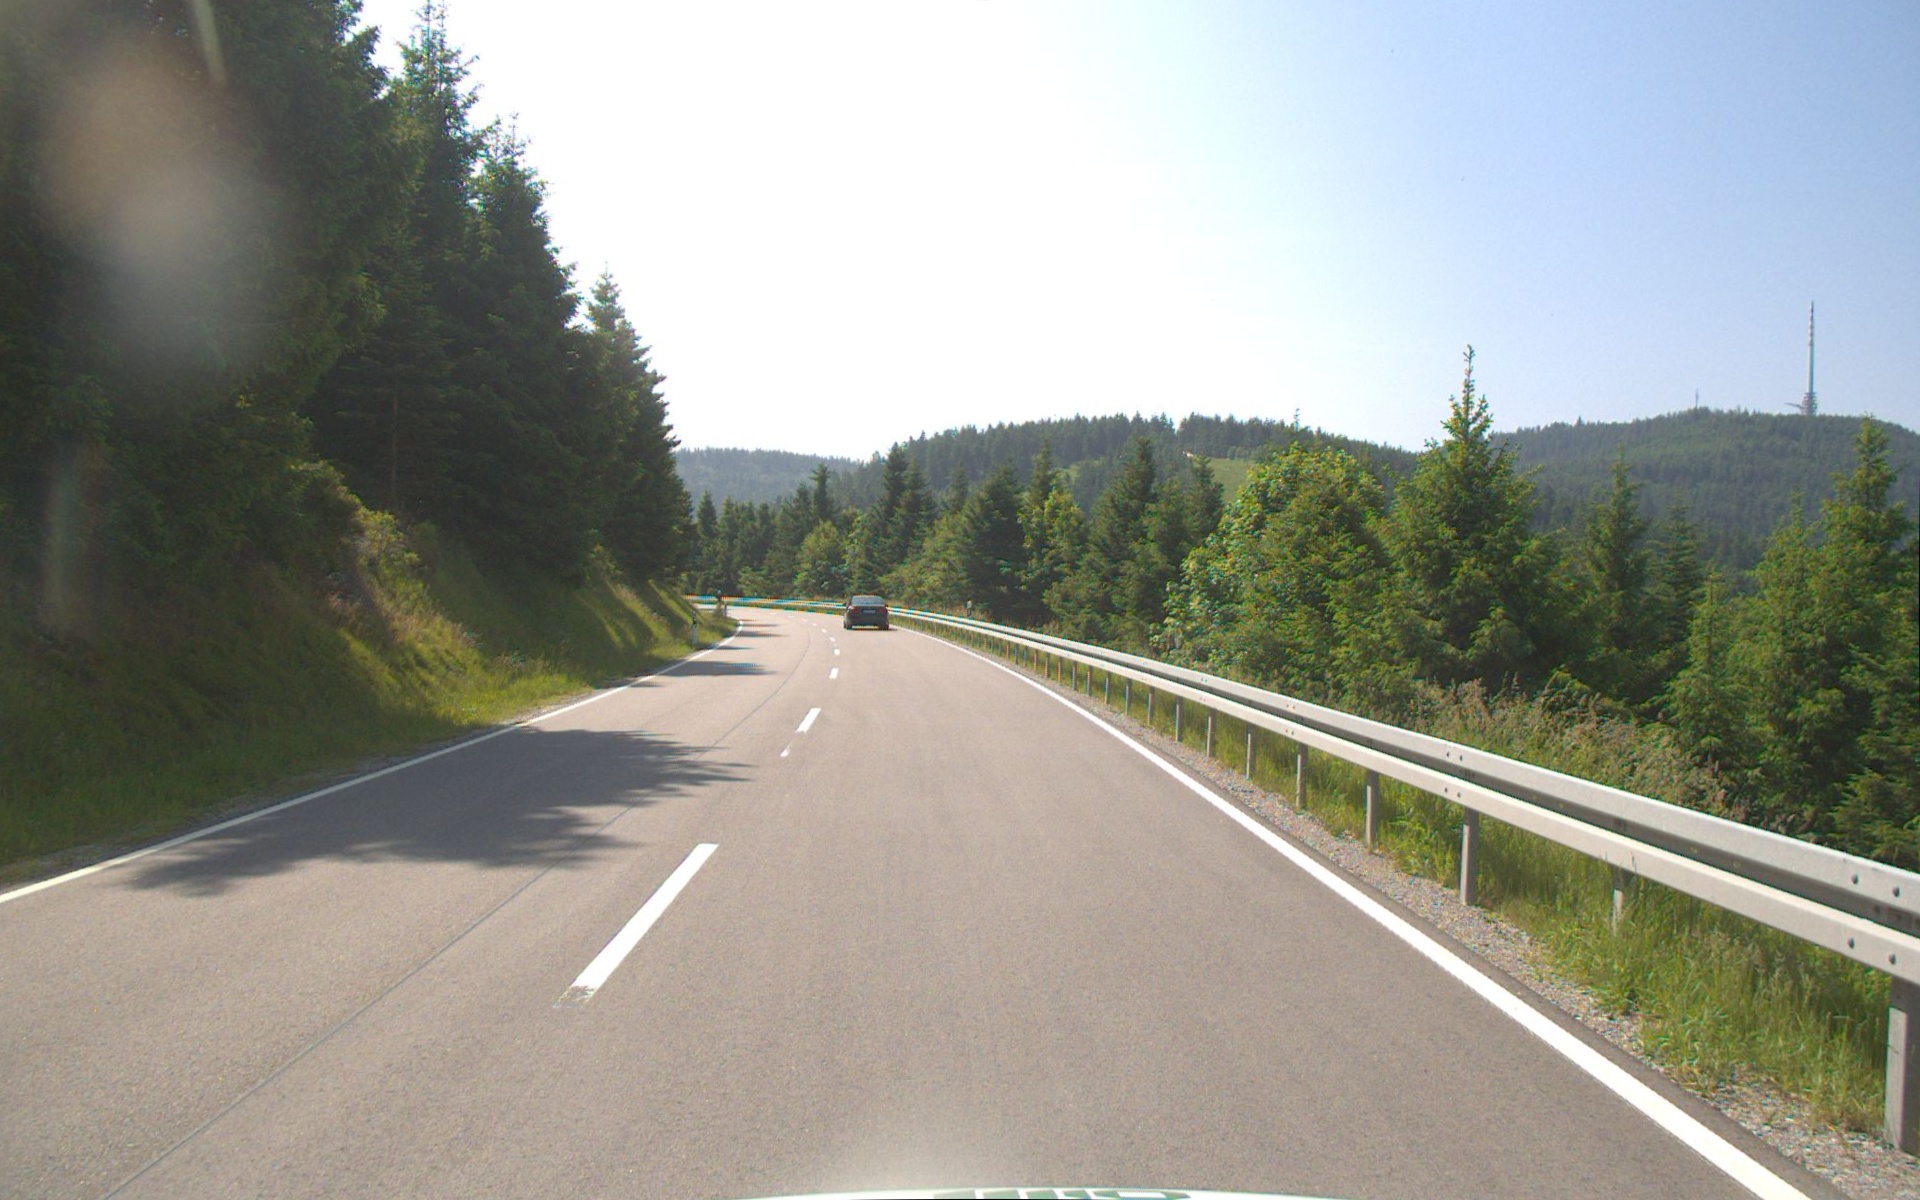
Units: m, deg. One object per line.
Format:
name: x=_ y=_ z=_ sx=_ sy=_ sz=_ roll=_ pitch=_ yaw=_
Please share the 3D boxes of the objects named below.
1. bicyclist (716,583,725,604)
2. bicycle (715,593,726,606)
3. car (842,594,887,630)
bicyclist: x=-17.099 y=-0.446 z=117.966 sx=0.533 sy=1.476 sz=0.979 roll=-1 pitch=0 yaw=-15
bicycle: x=-17.105 y=-0.063 z=118.058 sx=0.544 sy=0.902 sz=2.054 roll=-1 pitch=0 yaw=-15
car: x=-4.069 y=0.493 z=70.062 sx=1.742 sy=1.467 sz=3.704 roll=1 pitch=0 yaw=-6
